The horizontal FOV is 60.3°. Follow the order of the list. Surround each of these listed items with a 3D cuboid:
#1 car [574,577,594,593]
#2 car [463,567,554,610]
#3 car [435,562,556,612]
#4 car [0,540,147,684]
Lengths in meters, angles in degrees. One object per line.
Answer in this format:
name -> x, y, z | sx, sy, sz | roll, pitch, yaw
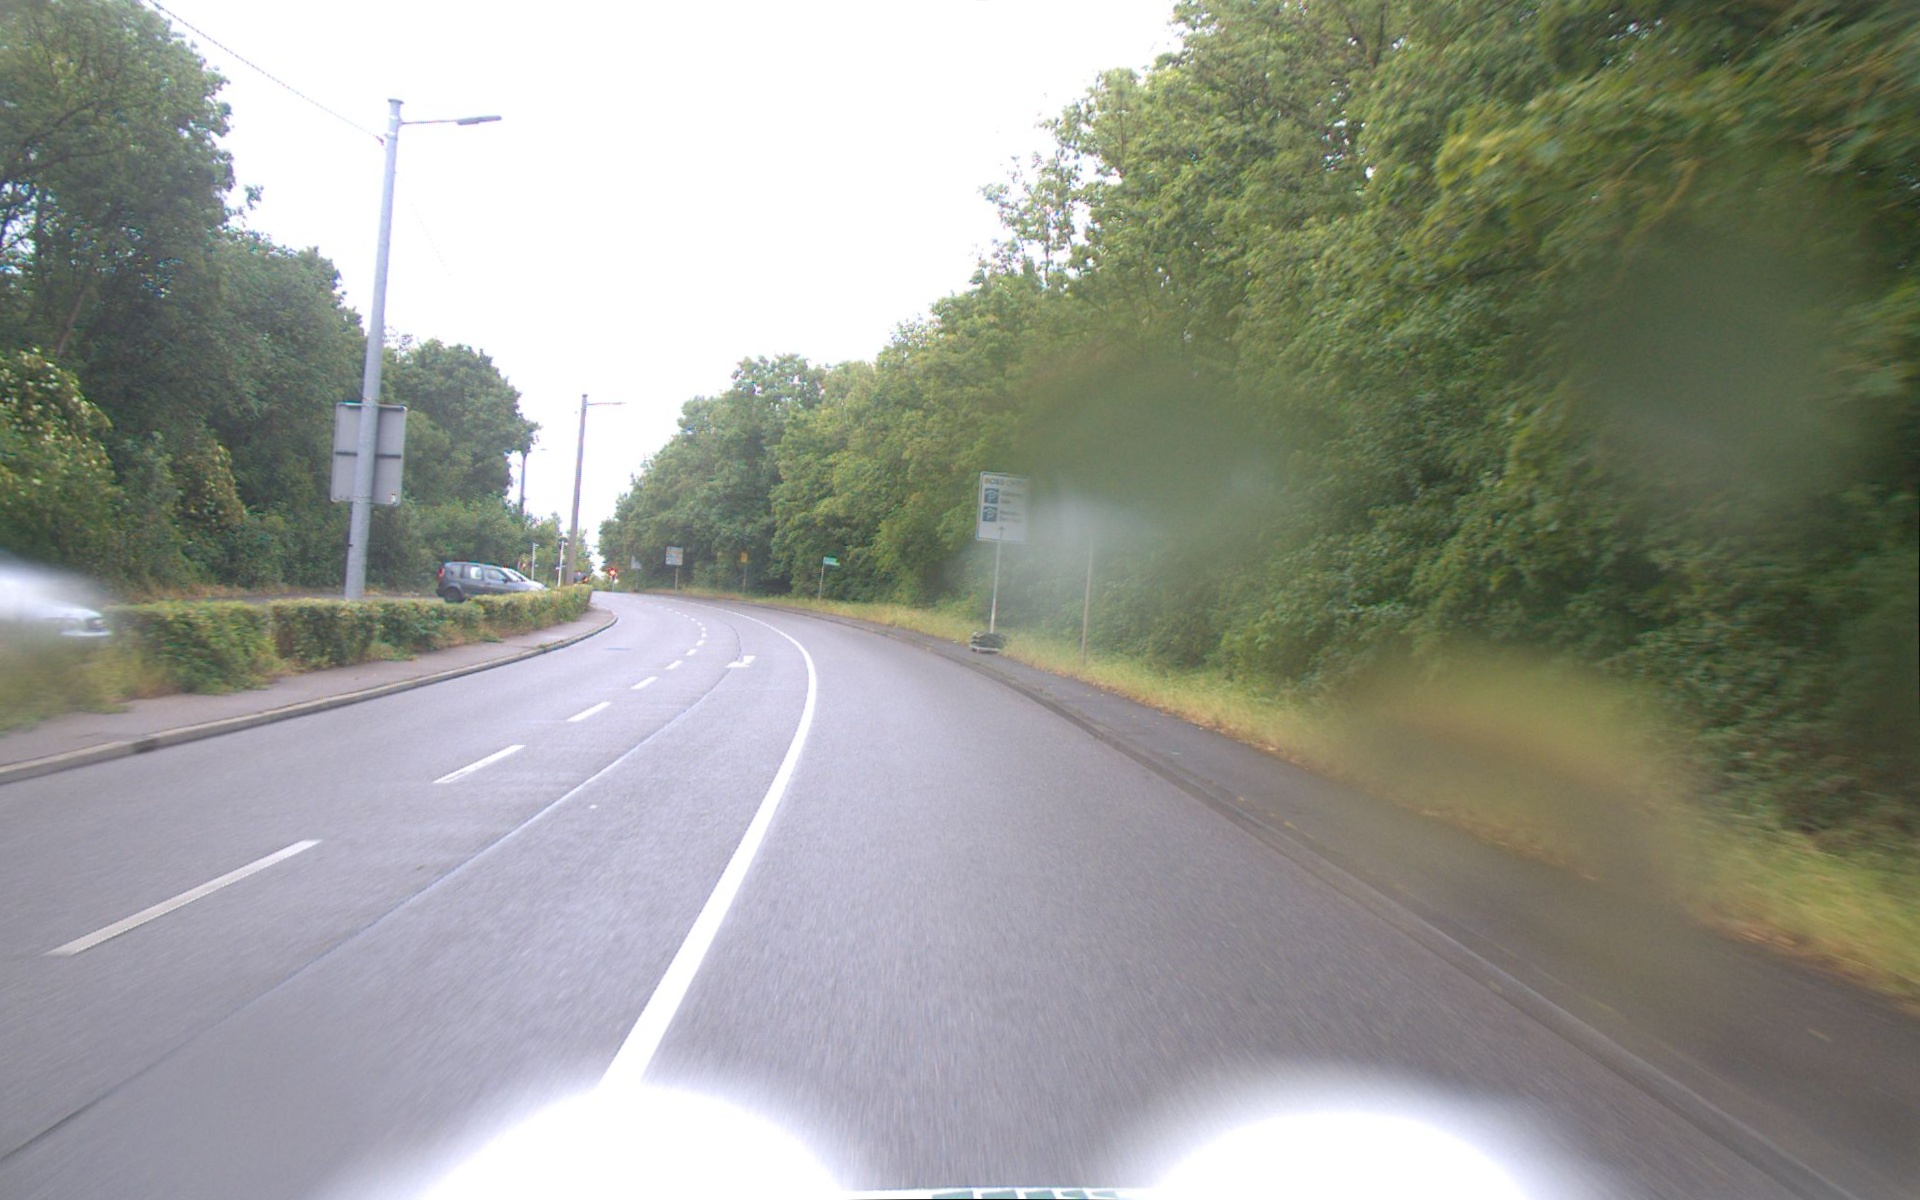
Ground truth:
car -> -39.414, -1.586, 173.219 | 1.902, 1.524, 4.303 | 2, 0, -14
car -> -19.132, -0.497, 70.176 | 3.583, 1.619, 1.845 | 3, 0, -14
car -> -18.106, -0.492, 64.627 | 4.210, 1.738, 1.997 | 3, 0, -7
car -> -11.972, 0.050, 18.747 | 4.492, 1.532, 1.995 | 2, 0, -10
